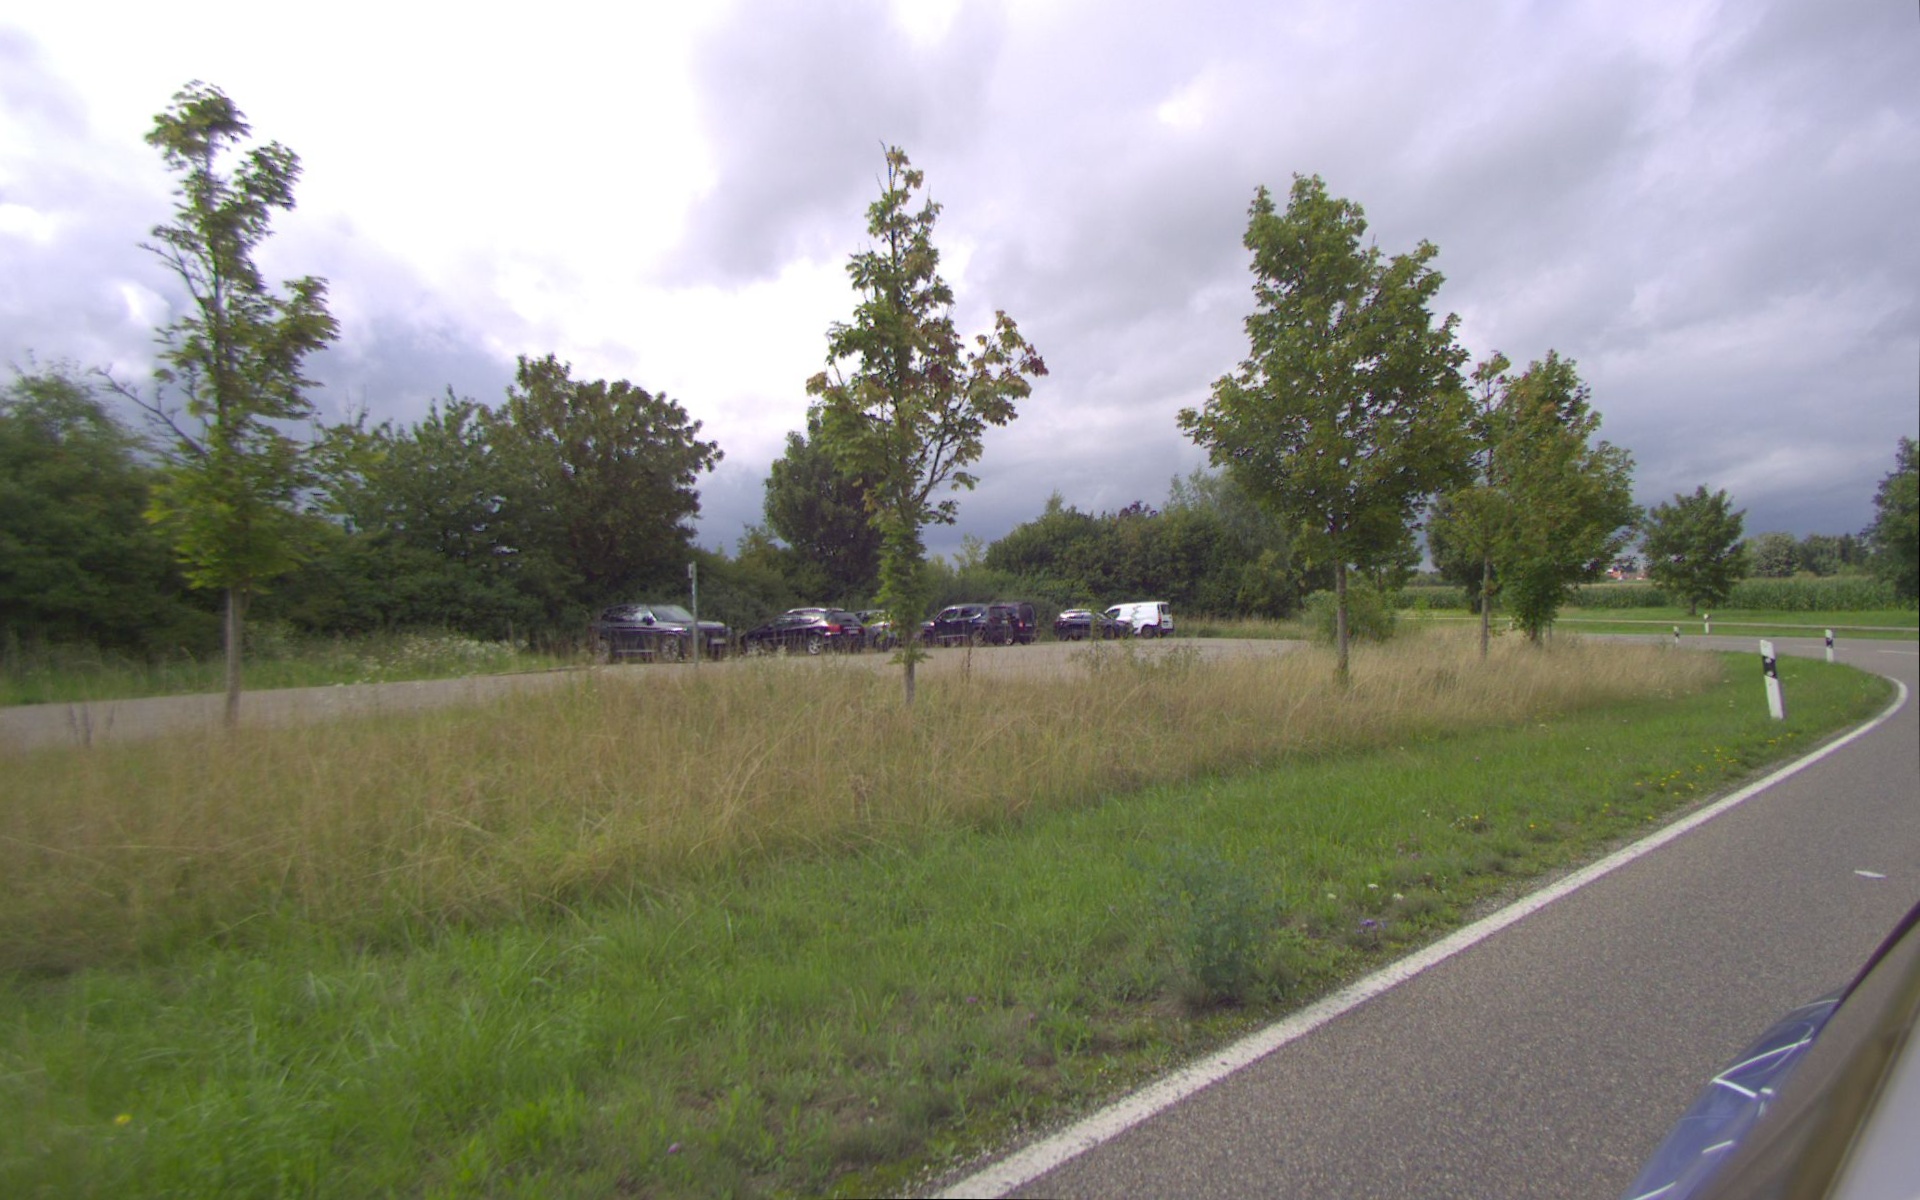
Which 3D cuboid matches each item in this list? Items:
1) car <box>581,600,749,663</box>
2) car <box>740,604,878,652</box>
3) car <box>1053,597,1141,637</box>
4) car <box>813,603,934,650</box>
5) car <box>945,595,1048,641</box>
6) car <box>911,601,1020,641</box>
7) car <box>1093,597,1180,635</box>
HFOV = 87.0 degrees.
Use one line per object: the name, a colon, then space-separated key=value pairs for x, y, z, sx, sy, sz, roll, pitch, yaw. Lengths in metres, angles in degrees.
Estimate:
car: x=-8.164 y=0.837 z=27.937 sx=4.456 sy=1.601 sz=1.978 roll=-1 pitch=0 yaw=31
car: x=-4.918 y=0.878 z=32.858 sx=4.132 sy=1.432 sz=1.978 roll=-1 pitch=0 yaw=31
car: x=6.735 y=0.828 z=49.869 sx=3.974 sy=1.883 sz=1.723 roll=-1 pitch=0 yaw=35
car: x=-3.082 y=0.910 z=35.816 sx=3.988 sy=1.524 sz=2.024 roll=-1 pitch=0 yaw=38
car: x=1.532 y=0.739 z=43.169 sx=3.974 sy=1.883 sz=1.975 roll=-1 pitch=0 yaw=35
car: x=0.208 y=0.824 z=40.580 sx=3.967 sy=1.516 sz=1.978 roll=-1 pitch=0 yaw=31
car: x=9.040 y=0.801 z=52.001 sx=3.974 sy=1.883 sz=1.975 roll=-1 pitch=0 yaw=35
